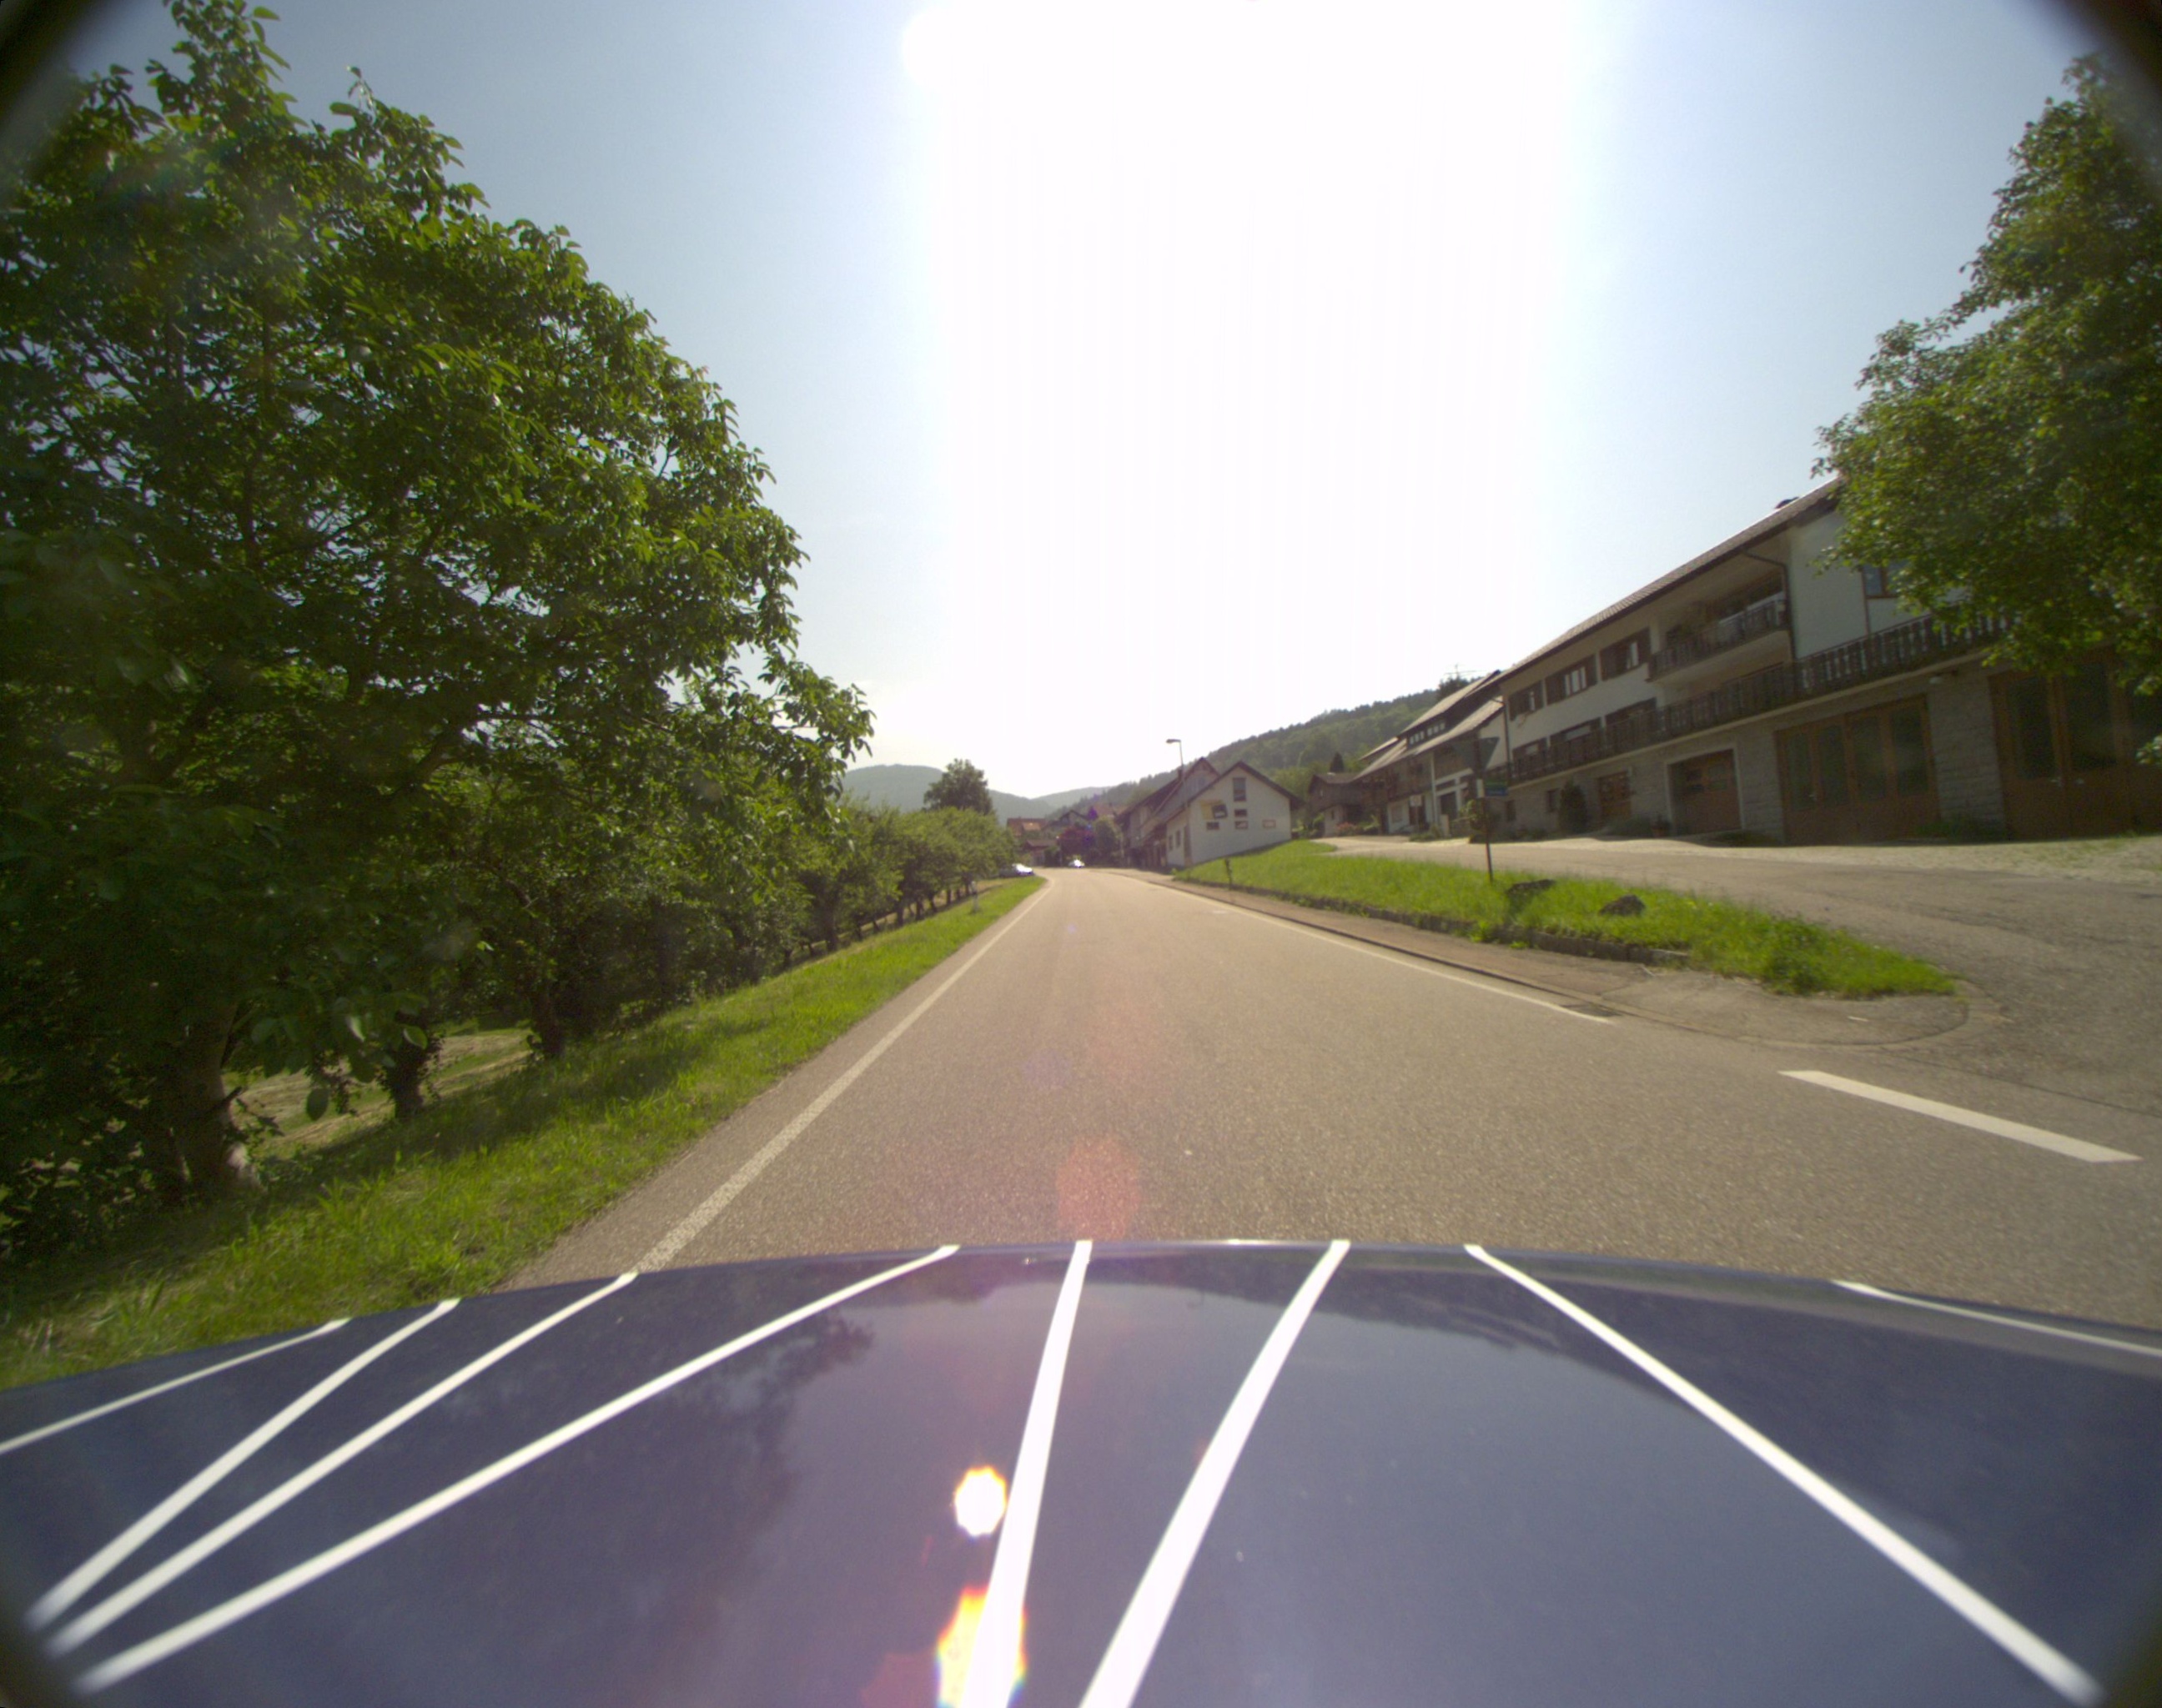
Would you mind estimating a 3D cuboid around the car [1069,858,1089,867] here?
[{"bbox_3d":[-0.380,1.429,126.182,1.789,1.331,4.689,-2,0,-19],"label":"car"}]

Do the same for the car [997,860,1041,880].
[{"bbox_3d":[-6.345,1.641,77.177,4.451,1.561,1.909,-6,0,45],"label":"car"}]
